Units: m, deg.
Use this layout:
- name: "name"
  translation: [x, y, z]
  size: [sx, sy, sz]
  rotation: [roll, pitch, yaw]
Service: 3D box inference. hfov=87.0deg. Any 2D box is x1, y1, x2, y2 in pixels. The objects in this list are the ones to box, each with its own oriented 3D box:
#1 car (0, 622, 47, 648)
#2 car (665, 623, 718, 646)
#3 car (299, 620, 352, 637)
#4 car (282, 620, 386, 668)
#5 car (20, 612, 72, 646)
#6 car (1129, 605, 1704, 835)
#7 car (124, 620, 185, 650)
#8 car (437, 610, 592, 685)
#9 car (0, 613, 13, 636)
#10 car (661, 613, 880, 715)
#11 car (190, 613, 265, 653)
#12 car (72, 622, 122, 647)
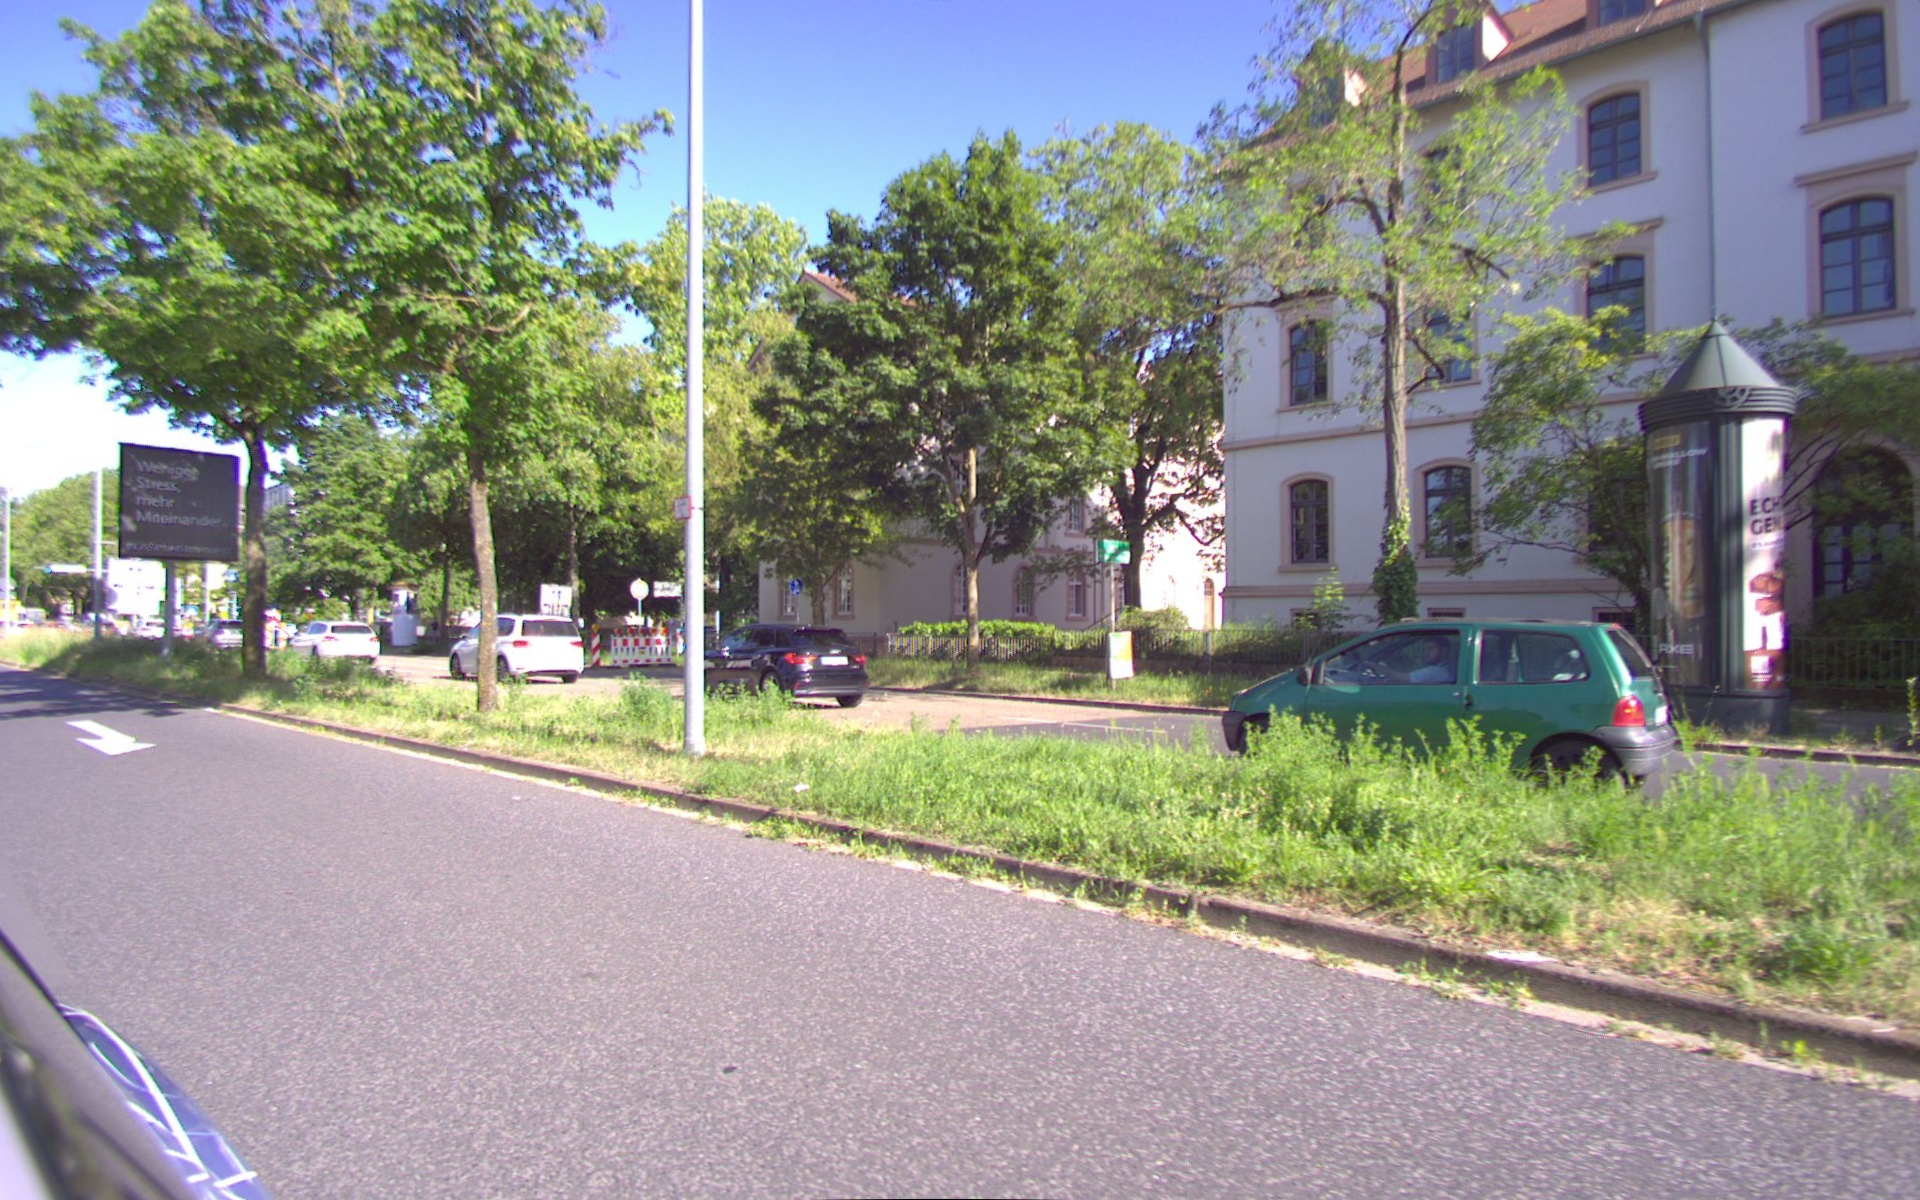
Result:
- name: "car"
  translation: [-57.626, 2.146, 62.190]
  size: [4.203, 1.530, 1.777]
  rotation: [-1, -1, 41]
- name: "car"
  translation: [-20.766, 2.637, 78.185]
  size: [4.684, 1.503, 1.625]
  rotation: [3, 2, 42]
- name: "car"
  translation: [-68.397, 3.093, 109.084]
  size: [4.637, 1.630, 1.922]
  rotation: [0, 2, -40]
- name: "car"
  translation: [-21.154, 1.441, 34.123]
  size: [4.666, 1.530, 1.819]
  rotation: [-1, -2, 43]
- name: "car"
  translation: [-51.765, 1.603, 57.273]
  size: [4.322, 1.630, 1.734]
  rotation: [3, 2, 42]
- name: "car"
  translation: [3.722, 0.846, 8.754]
  size: [4.256, 1.530, 1.621]
  rotation: [-1, -2, 41]
- name: "car"
  translation: [-42.906, 1.837, 53.856]
  size: [4.256, 1.530, 1.777]
  rotation: [-1, -1, 41]
- name: "car"
  translation: [-10.856, 1.106, 24.495]
  size: [4.539, 1.638, 1.879]
  rotation: [-1, -3, 45]
- name: "car"
  translation: [-68.051, 1.724, 71.069]
  size: [4.344, 1.530, 1.777]
  rotation: [0, 0, 41]
- name: "car"
  translation: [-3.398, 1.033, 17.623]
  size: [1.774, 1.530, 4.090]
  rotation: [3, -2, -44]
- name: "car"
  translation: [-31.751, 1.403, 43.830]
  size: [4.257, 1.530, 1.777]
  rotation: [1, 1, 42]
- name: "car"
  translation: [-54.290, 2.138, 63.643]
  size: [4.442, 1.530, 1.777]
  rotation: [-1, -1, 41]
